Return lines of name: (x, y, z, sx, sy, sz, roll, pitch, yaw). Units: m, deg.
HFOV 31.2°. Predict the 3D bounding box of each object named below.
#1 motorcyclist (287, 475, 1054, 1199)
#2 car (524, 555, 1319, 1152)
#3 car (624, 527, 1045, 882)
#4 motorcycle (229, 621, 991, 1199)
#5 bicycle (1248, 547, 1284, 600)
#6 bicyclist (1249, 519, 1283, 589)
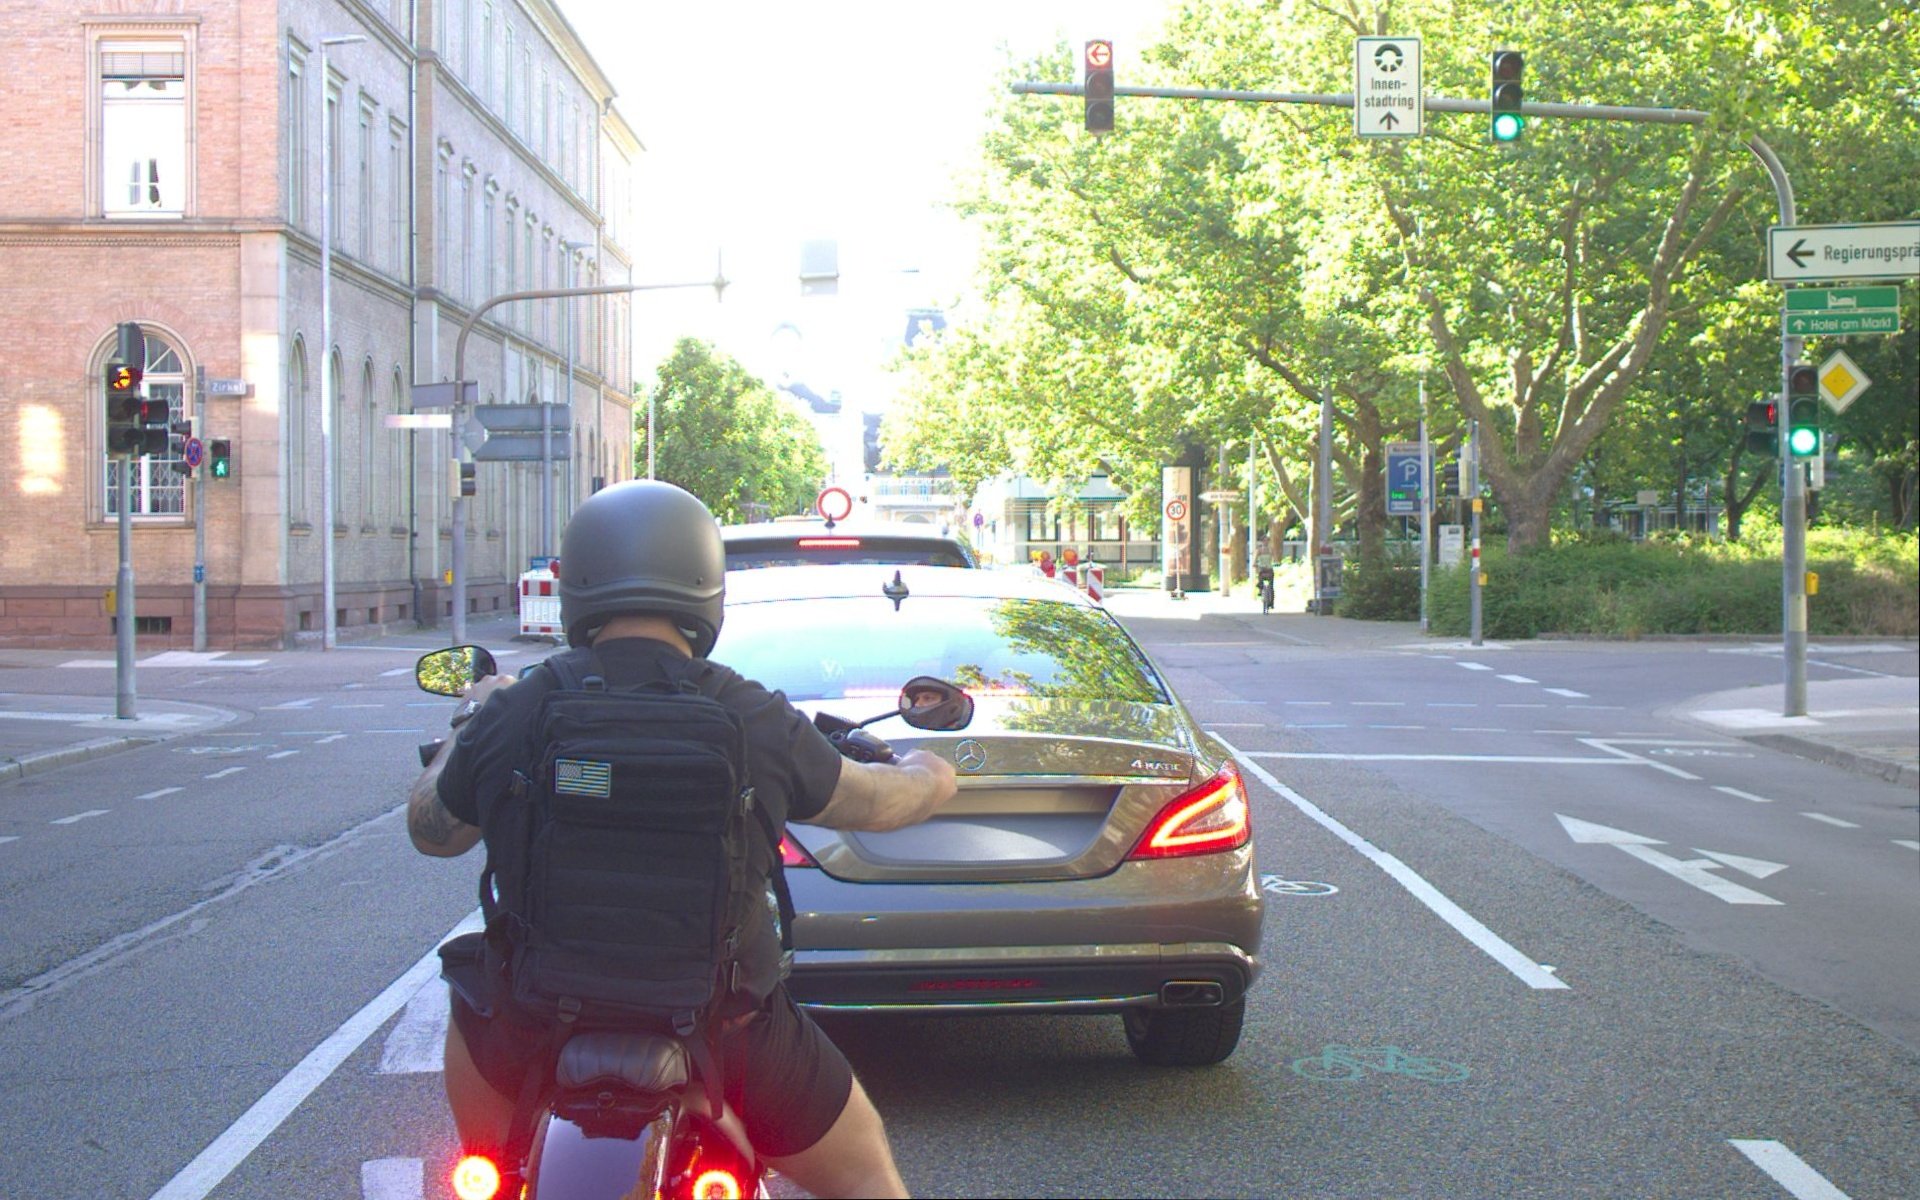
motorcyclist: (-0.414, 0.616, 5.275, 1.061, 1.577, 0.908, 1, 0, -1)
car: (-0.349, 0.592, 10.665, 1.901, 1.436, 4.290, 0, 1, -8)
car: (-0.645, 0.415, 16.777, 1.813, 1.530, 3.849, 0, 1, -3)
motorcycle: (-0.464, 0.735, 5.546, 0.962, 1.352, 2.320, 1, 1, -1)
bicycle: (6.892, -0.594, 77.514, 0.716, 1.168, 2.176, 1, 1, 3)
bicyclist: (6.907, -1.038, 77.555, 0.716, 1.577, 0.936, 1, 0, 3)
